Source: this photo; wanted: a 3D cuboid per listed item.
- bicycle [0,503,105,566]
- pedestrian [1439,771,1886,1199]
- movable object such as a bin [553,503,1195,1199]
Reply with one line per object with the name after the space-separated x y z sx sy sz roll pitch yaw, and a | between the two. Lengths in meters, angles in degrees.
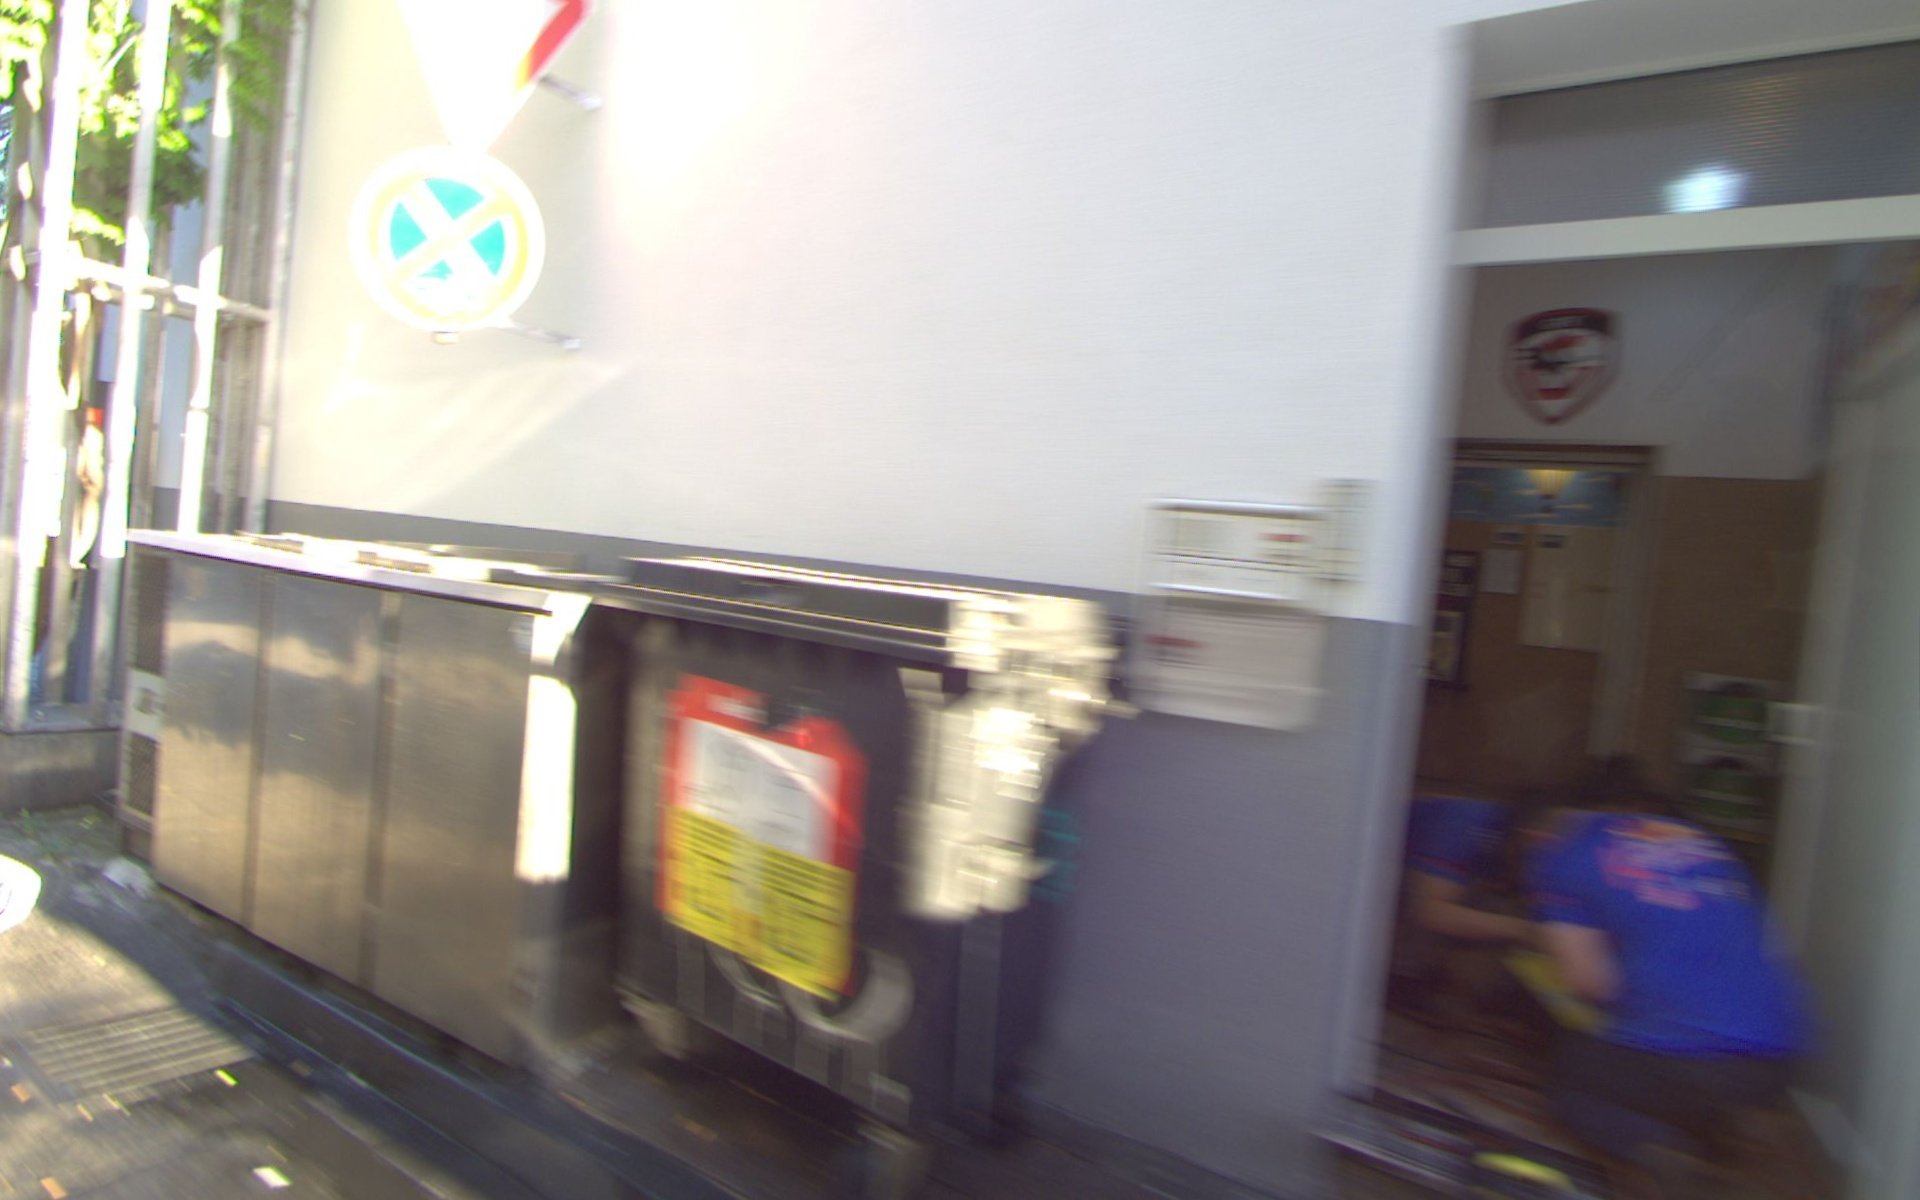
-17.562 -1.259 19.362 1.648 1.066 0.654 2 6 -43 | bicycle
1.648 0.920 2.469 0.708 0.820 0.609 9 1 30 | pedestrian
-0.233 0.493 2.533 1.269 1.323 0.835 8 4 34 | movable object such as a bin
